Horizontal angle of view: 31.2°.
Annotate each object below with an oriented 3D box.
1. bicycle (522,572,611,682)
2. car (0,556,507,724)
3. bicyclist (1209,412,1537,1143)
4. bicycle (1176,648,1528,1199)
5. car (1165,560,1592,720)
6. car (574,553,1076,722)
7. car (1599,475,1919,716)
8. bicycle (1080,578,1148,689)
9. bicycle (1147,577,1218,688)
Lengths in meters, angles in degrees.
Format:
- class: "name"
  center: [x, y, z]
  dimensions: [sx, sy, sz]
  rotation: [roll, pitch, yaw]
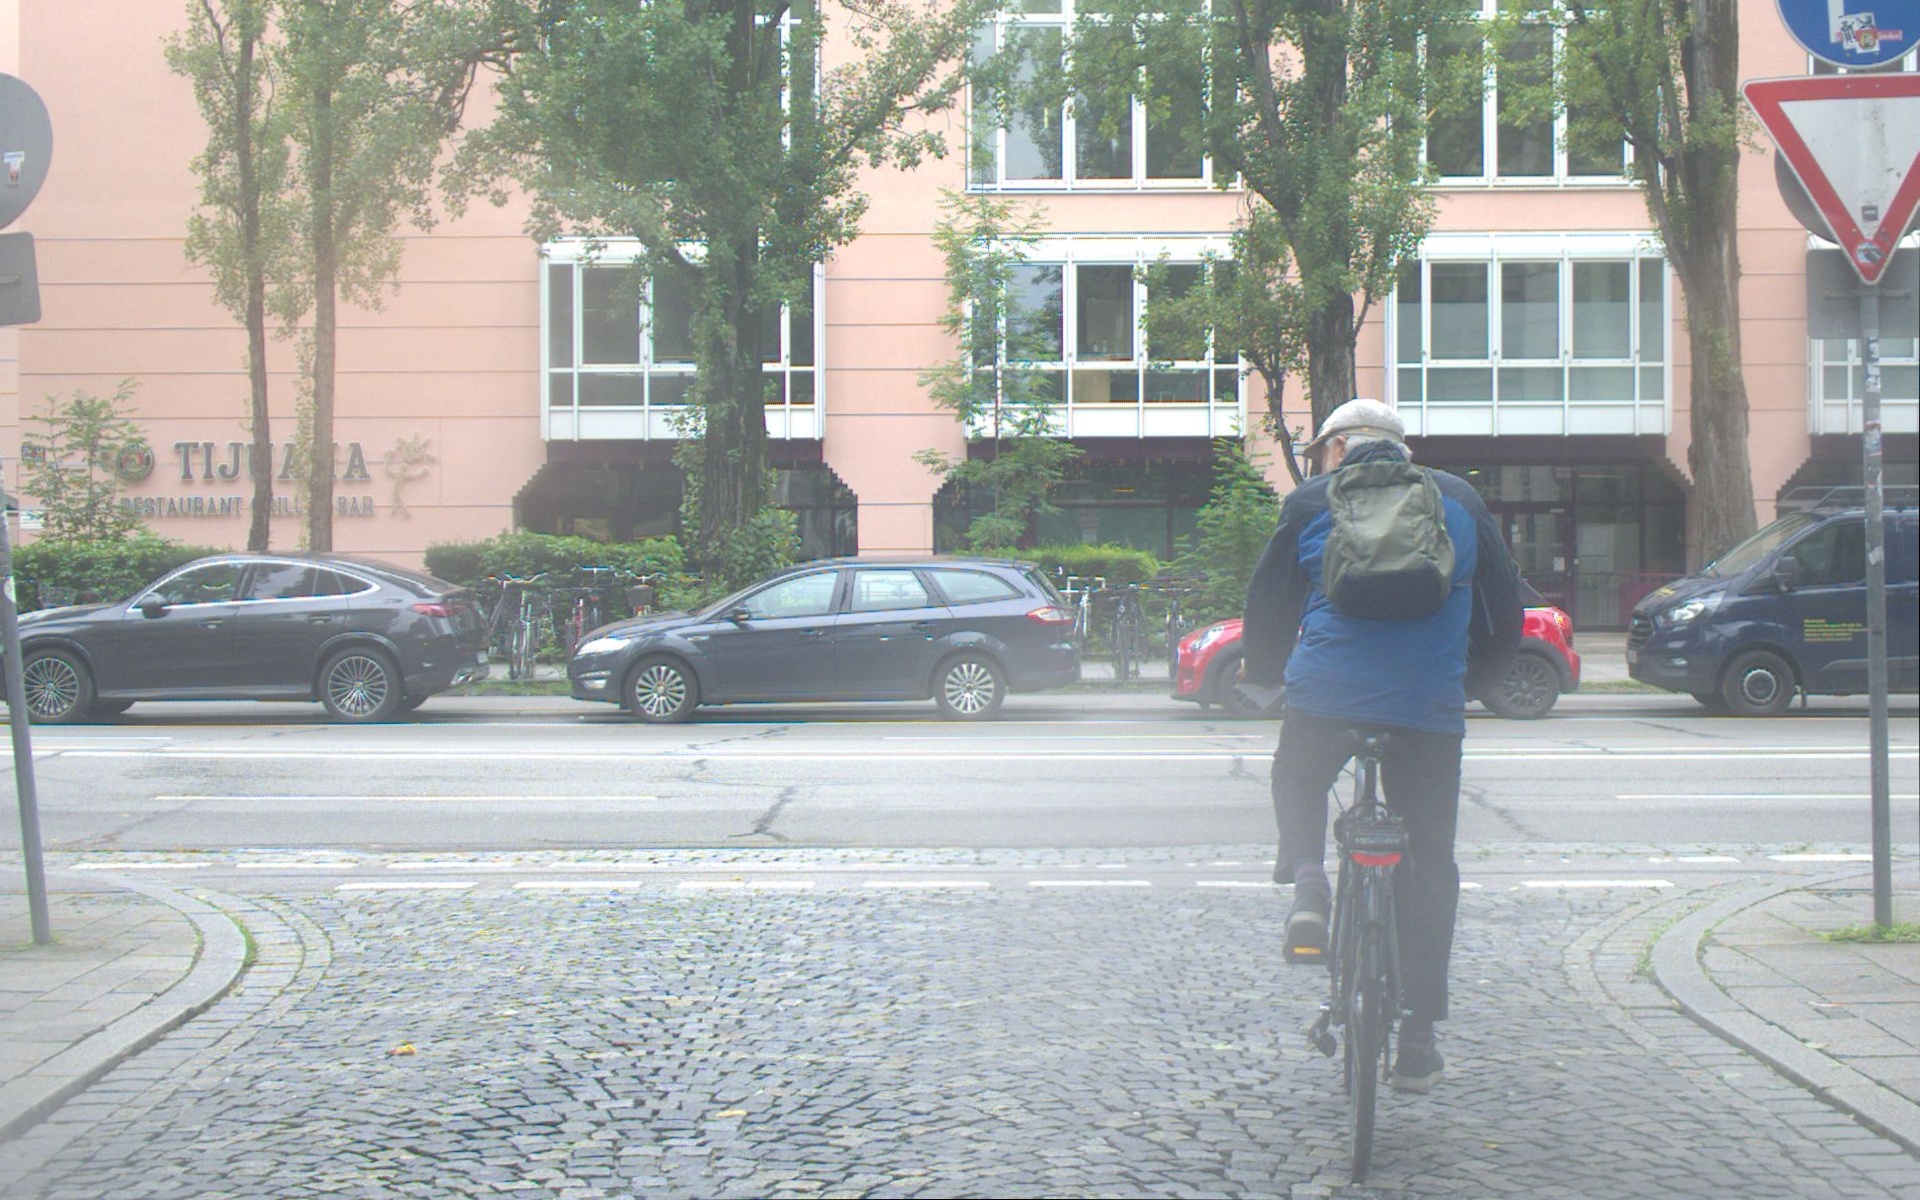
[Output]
- class: "bicycle"
  center: [-4.208, 0.270, 36.866]
  dimensions: [0.674, 1.120, 1.989]
  rotation: [0, 1, 1]
- class: "car"
  center: [-6.674, 0.358, 32.606]
  dimensions: [4.500, 1.523, 1.793]
  rotation: [0, 1, 1]
- class: "bicyclist"
  center: [0.977, 0.384, 8.010]
  dimensions: [0.722, 1.614, 0.756]
  rotation: [0, 1, 10]
- class: "bicycle"
  center: [0.954, 0.707, 7.977]
  dimensions: [0.717, 1.144, 1.899]
  rotation: [0, 1, 9]
- class: "car"
  center: [3.854, 0.357, 32.148]
  dimensions: [3.861, 1.444, 1.678]
  rotation: [0, 1, 4]
- class: "car"
  center: [-1.225, 0.337, 32.463]
  dimensions: [4.608, 1.523, 1.793]
  rotation: [0, 1, 1]
- class: "car"
  center: [8.926, -0.066, 32.324]
  dimensions: [5.479, 2.189, 2.024]
  rotation: [0, 1, 1]
- class: "bicycle"
  center: [1.622, 0.343, 36.483]
  dimensions: [0.674, 1.120, 1.742]
  rotation: [0, 1, 1]
- class: "bicycle"
  center: [2.351, 0.334, 36.456]
  dimensions: [0.674, 1.120, 1.742]
  rotation: [0, 1, 1]
